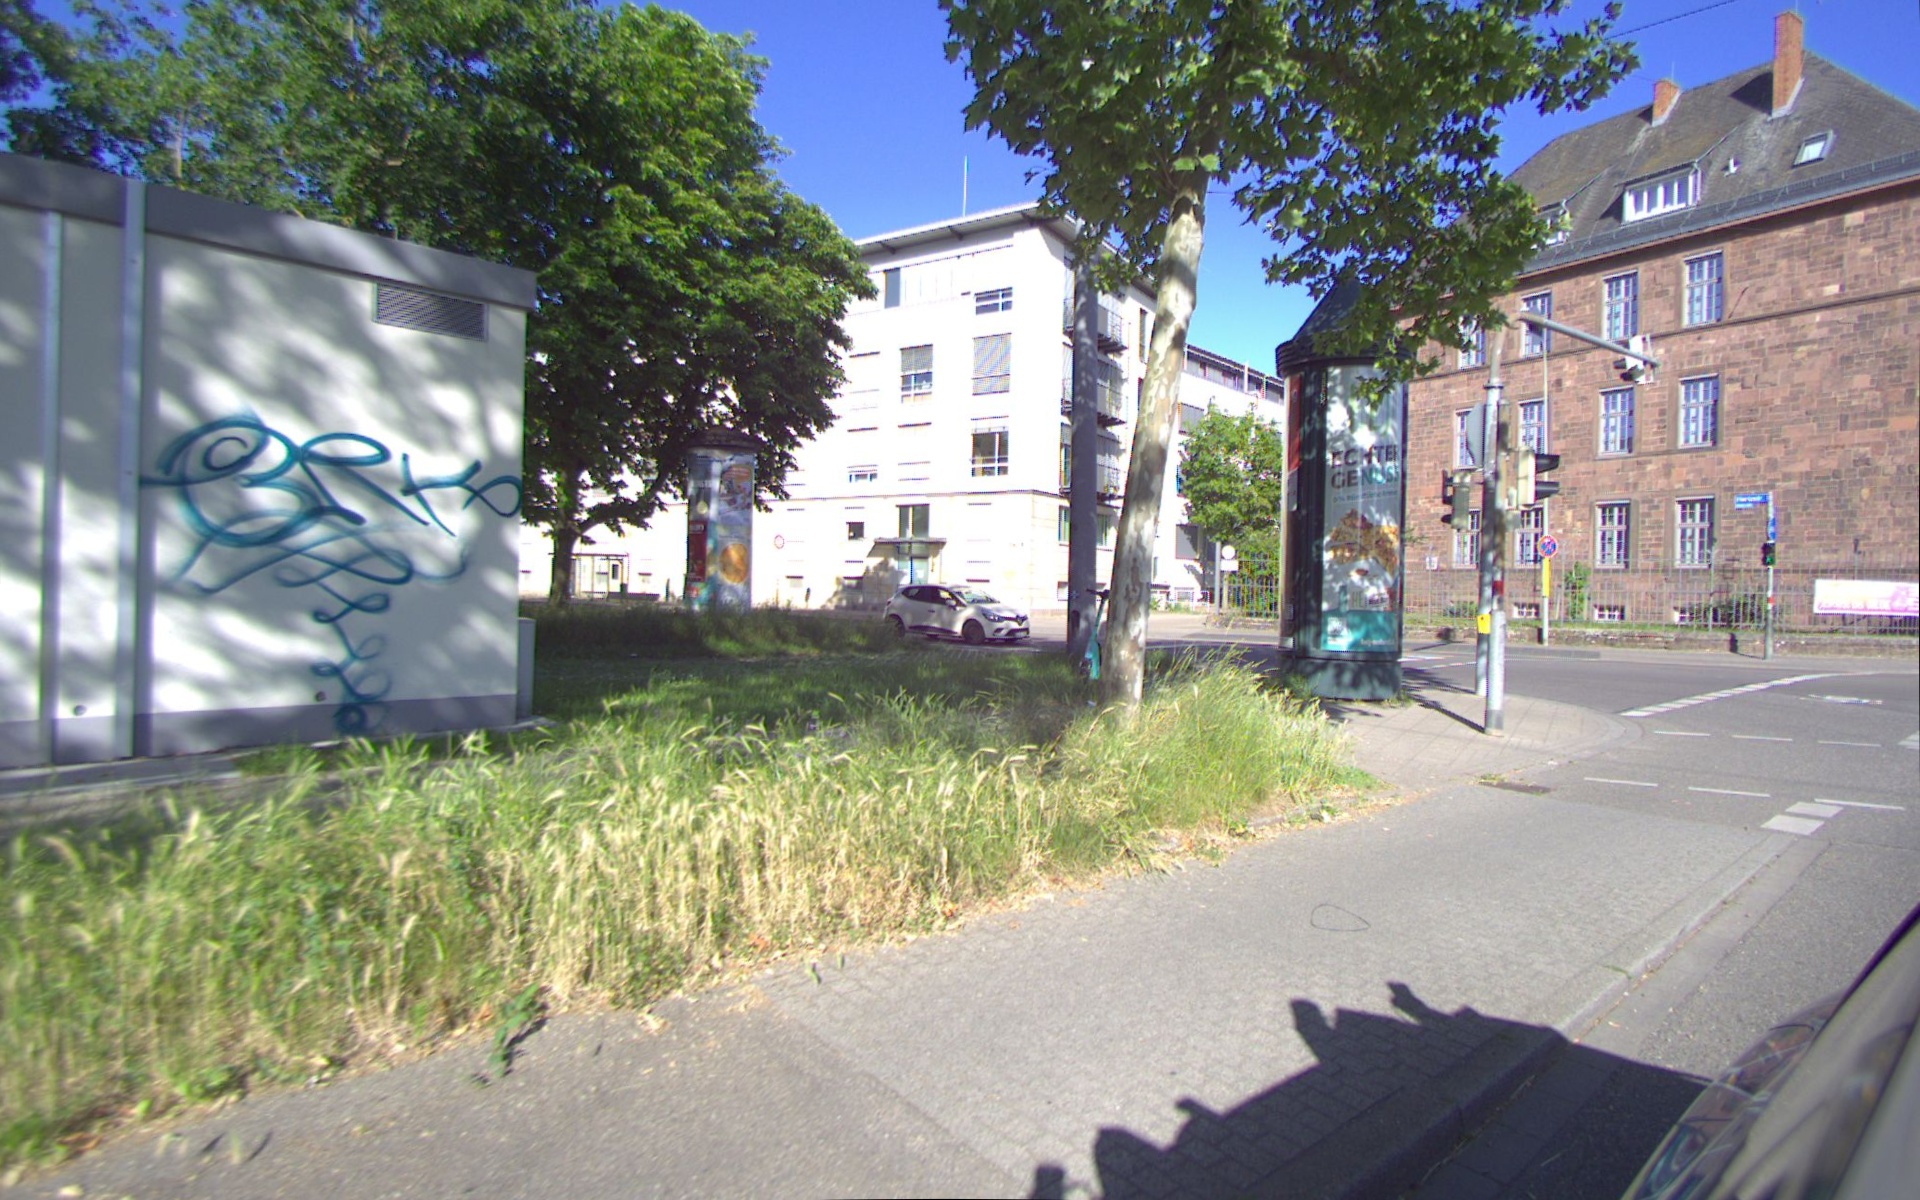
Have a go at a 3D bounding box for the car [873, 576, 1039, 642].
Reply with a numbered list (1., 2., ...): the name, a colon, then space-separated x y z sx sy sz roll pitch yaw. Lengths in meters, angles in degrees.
1. car: -0.156 0.170 25.408 3.982 1.486 1.774 2 1 40
